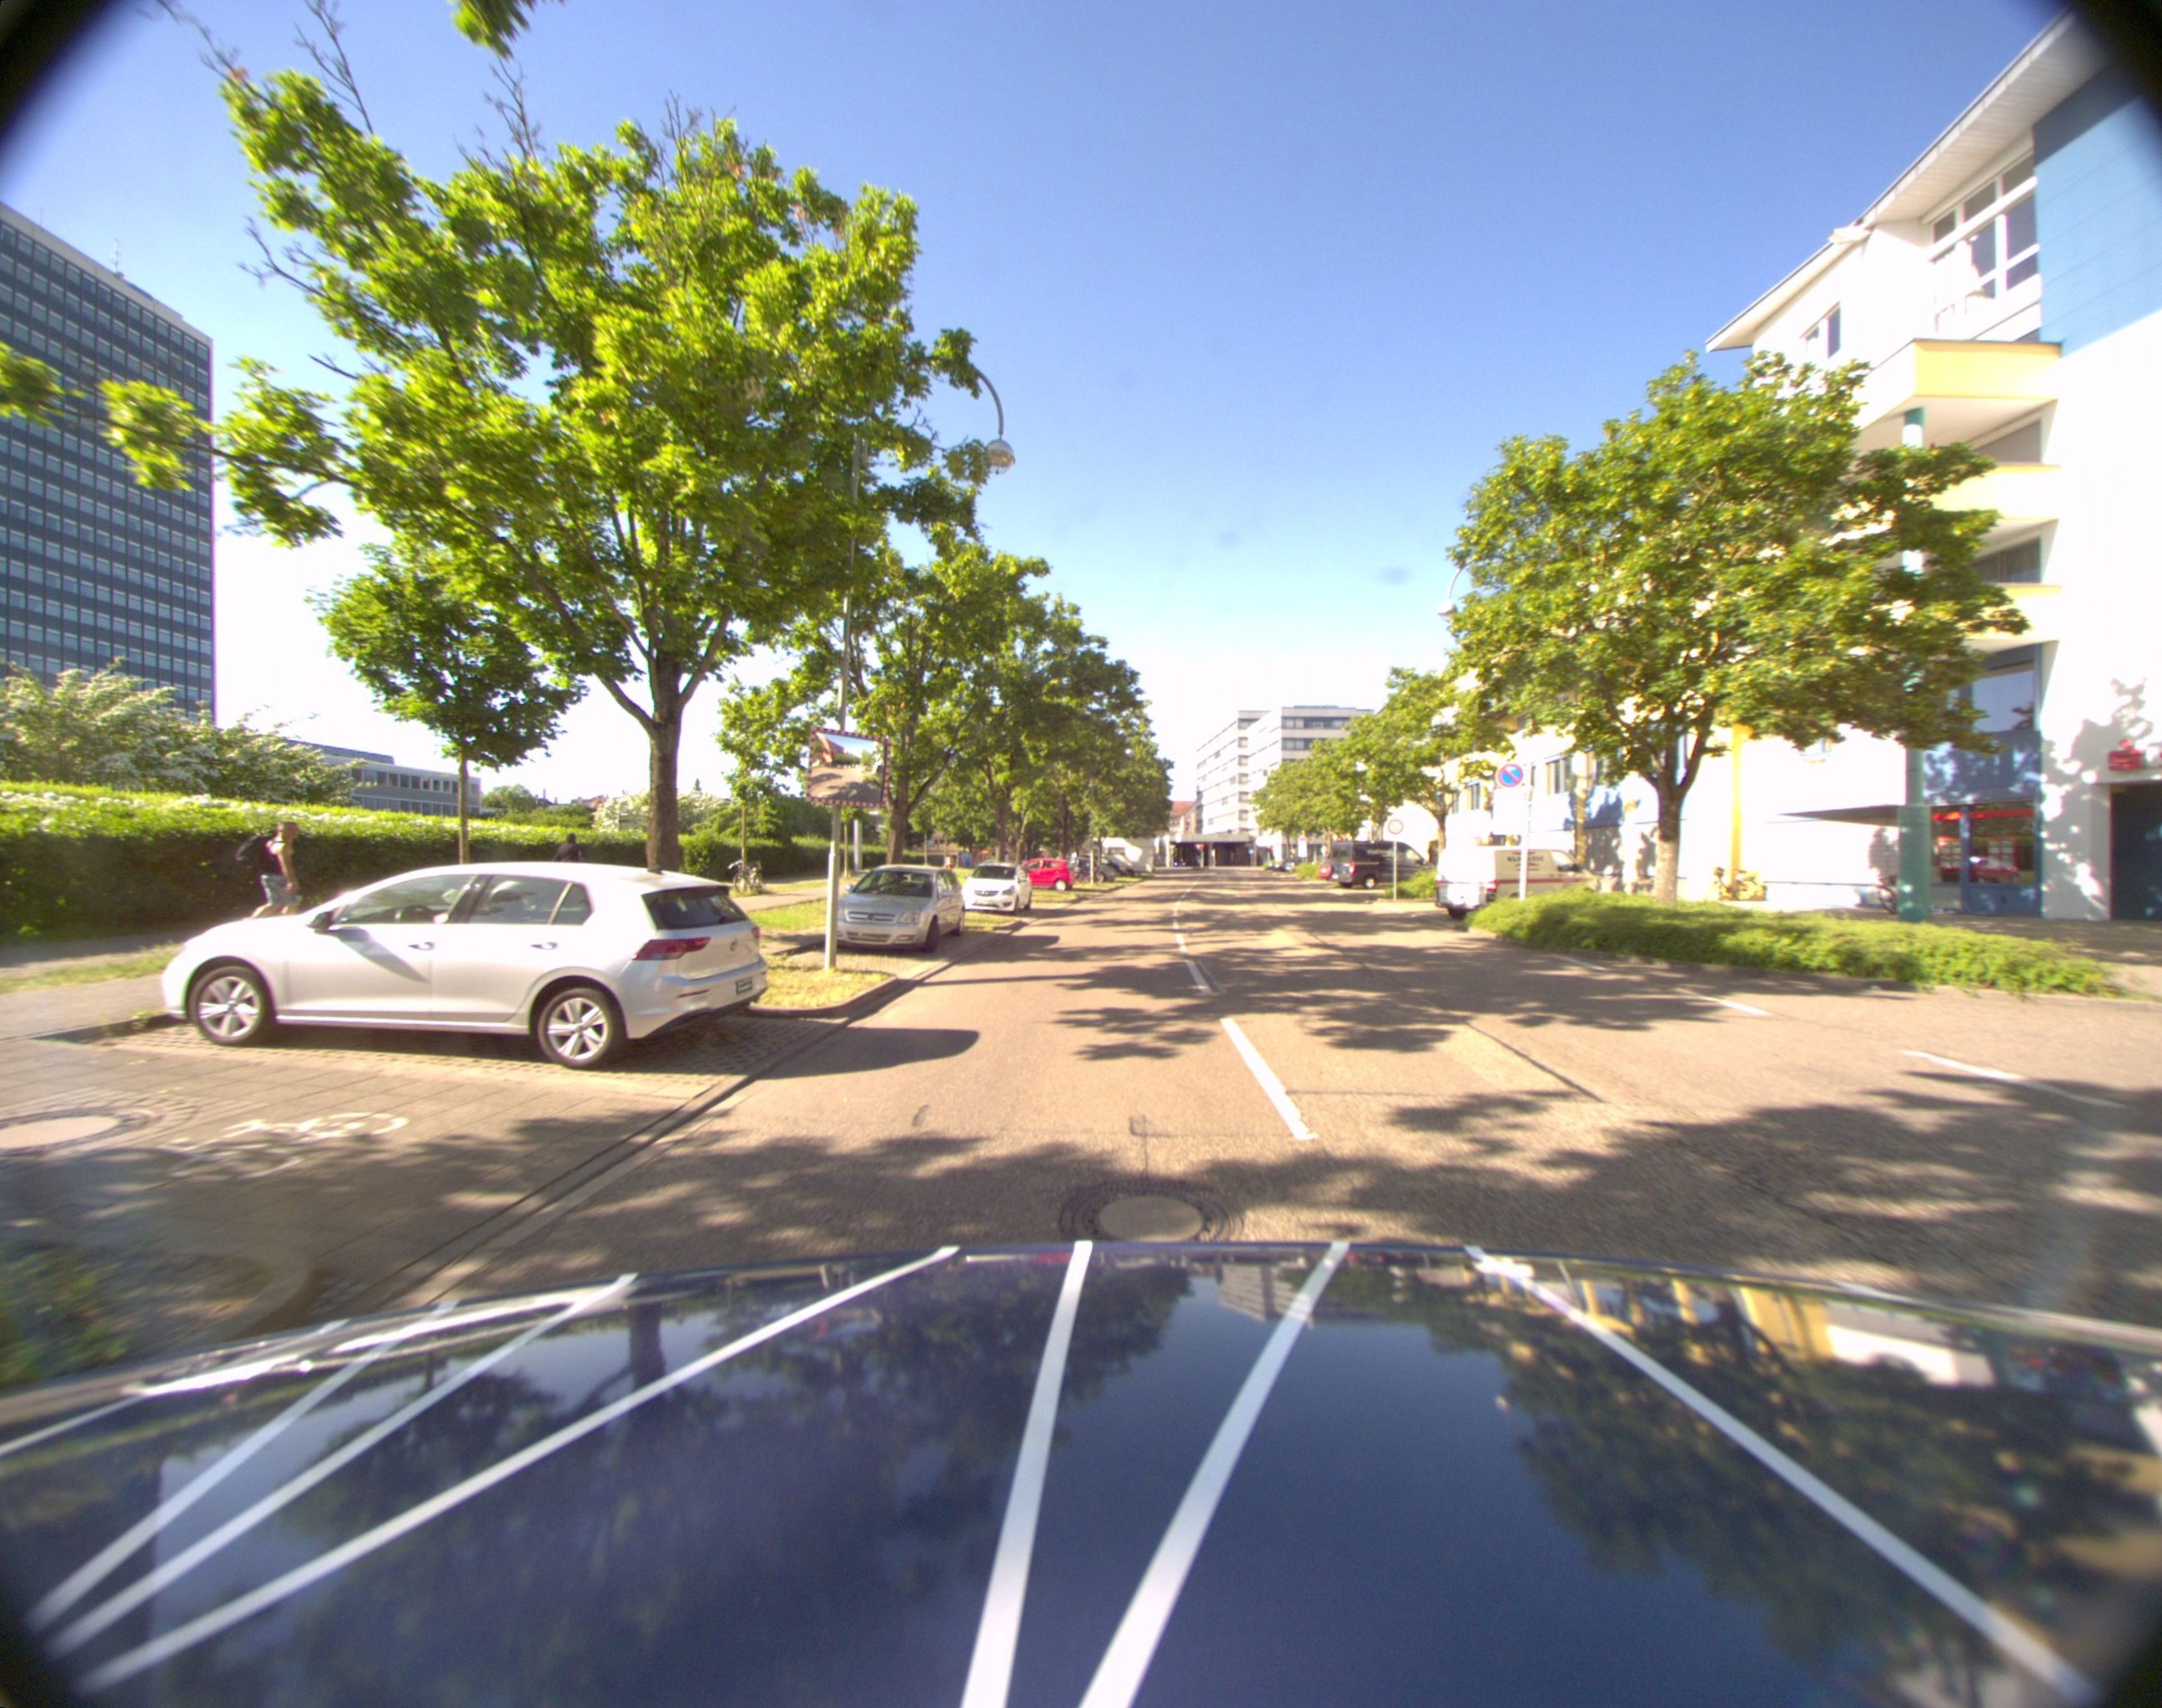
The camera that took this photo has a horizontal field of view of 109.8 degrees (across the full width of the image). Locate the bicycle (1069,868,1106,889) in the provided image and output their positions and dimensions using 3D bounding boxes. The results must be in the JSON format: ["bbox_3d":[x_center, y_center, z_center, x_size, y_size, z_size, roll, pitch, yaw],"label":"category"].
[{"bbox_3d":[0.331,1.232,38.458,1.752,0.985,0.531,2,1,22],"label":"bicycle"}]

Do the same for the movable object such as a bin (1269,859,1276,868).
[{"bbox_3d":[23.566,1.152,93.524,0.674,1.067,0.804,1,1,35],"label":"movable object such as a bin"}]

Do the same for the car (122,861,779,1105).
[{"bbox_3d":[-4.863,0.896,6.190,4.097,1.421,1.643,3,1,5],"label":"car"}]

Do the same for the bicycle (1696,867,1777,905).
[{"bbox_3d":[20.542,0.994,23.841,1.801,1.091,0.702,1,1,11],"label":"bicycle"}]

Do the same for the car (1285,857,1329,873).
[{"bbox_3d":[23.128,1.088,77.788,4.004,1.455,1.807,-2,1,-23],"label":"car"}]

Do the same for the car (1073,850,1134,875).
[{"bbox_3d":[1.680,0.610,55.636,4.156,1.537,1.860,3,1,8],"label":"car"}]

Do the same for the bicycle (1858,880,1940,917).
[{"bbox_3d":[20.616,1.112,19.157,1.804,0.867,0.491,-1,1,-9],"label":"bicycle"}]

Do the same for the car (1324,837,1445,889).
[{"bbox_3d":[15.405,0.418,38.579,5.509,2.422,2.183,-1,0,-16],"label":"car"}]

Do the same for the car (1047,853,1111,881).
[{"bbox_3d":[-0.091,0.745,45.289,3.467,1.471,1.861,3,1,11],"label":"car"}]

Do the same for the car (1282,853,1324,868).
[{"bbox_3d":[23.667,0.678,80.886,4.004,1.455,1.807,-2,1,-23],"label":"car"}]

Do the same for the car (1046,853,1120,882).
[{"bbox_3d":[0.152,0.812,47.348,4.200,1.537,1.861,3,1,11],"label":"car"}]

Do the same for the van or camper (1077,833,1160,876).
[{"bbox_3d":[2.919,-0.007,58.417,5.992,2.967,2.672,3,1,9],"label":"van or camper"}]

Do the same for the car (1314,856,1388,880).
[{"bbox_3d":[17.492,0.896,49.274,4.236,1.467,1.768,-1,0,-12],"label":"car"}]

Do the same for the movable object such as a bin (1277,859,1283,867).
[{"bbox_3d":[24.282,1.092,92.809,0.476,0.954,0.543,-1,1,39],"label":"movable object such as a bin"}]

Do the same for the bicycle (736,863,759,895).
[{"bbox_3d":[-9.516,0.704,21.701,0.347,0.861,1.407,1,1,-14],"label":"bicycle"}]

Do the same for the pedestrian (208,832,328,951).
[{"bbox_3d":[-10.992,0.482,10.308,0.608,1.533,0.937,1,1,2],"label":"pedestrian"}]

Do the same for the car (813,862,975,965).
[{"bbox_3d":[-3.322,0.985,14.485,1.813,1.485,4.623,3,0,1],"label":"car"}]

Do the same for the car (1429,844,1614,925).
[{"bbox_3d":[12.083,0.756,20.805,4.777,1.973,1.996,-1,0,-25],"label":"car"}]

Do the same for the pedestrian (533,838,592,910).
[{"bbox_3d":[-11.658,0.430,17.107,0.725,1.579,0.852,0,1,0],"label":"pedestrian"}]

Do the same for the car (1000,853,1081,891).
[{"bbox_3d":[-1.881,0.833,35.833,3.439,1.535,1.629,3,1,11],"label":"car"}]

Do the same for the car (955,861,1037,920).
[{"bbox_3d":[-2.441,1.016,22.675,1.646,1.485,3.767,3,0,5],"label":"car"}]
